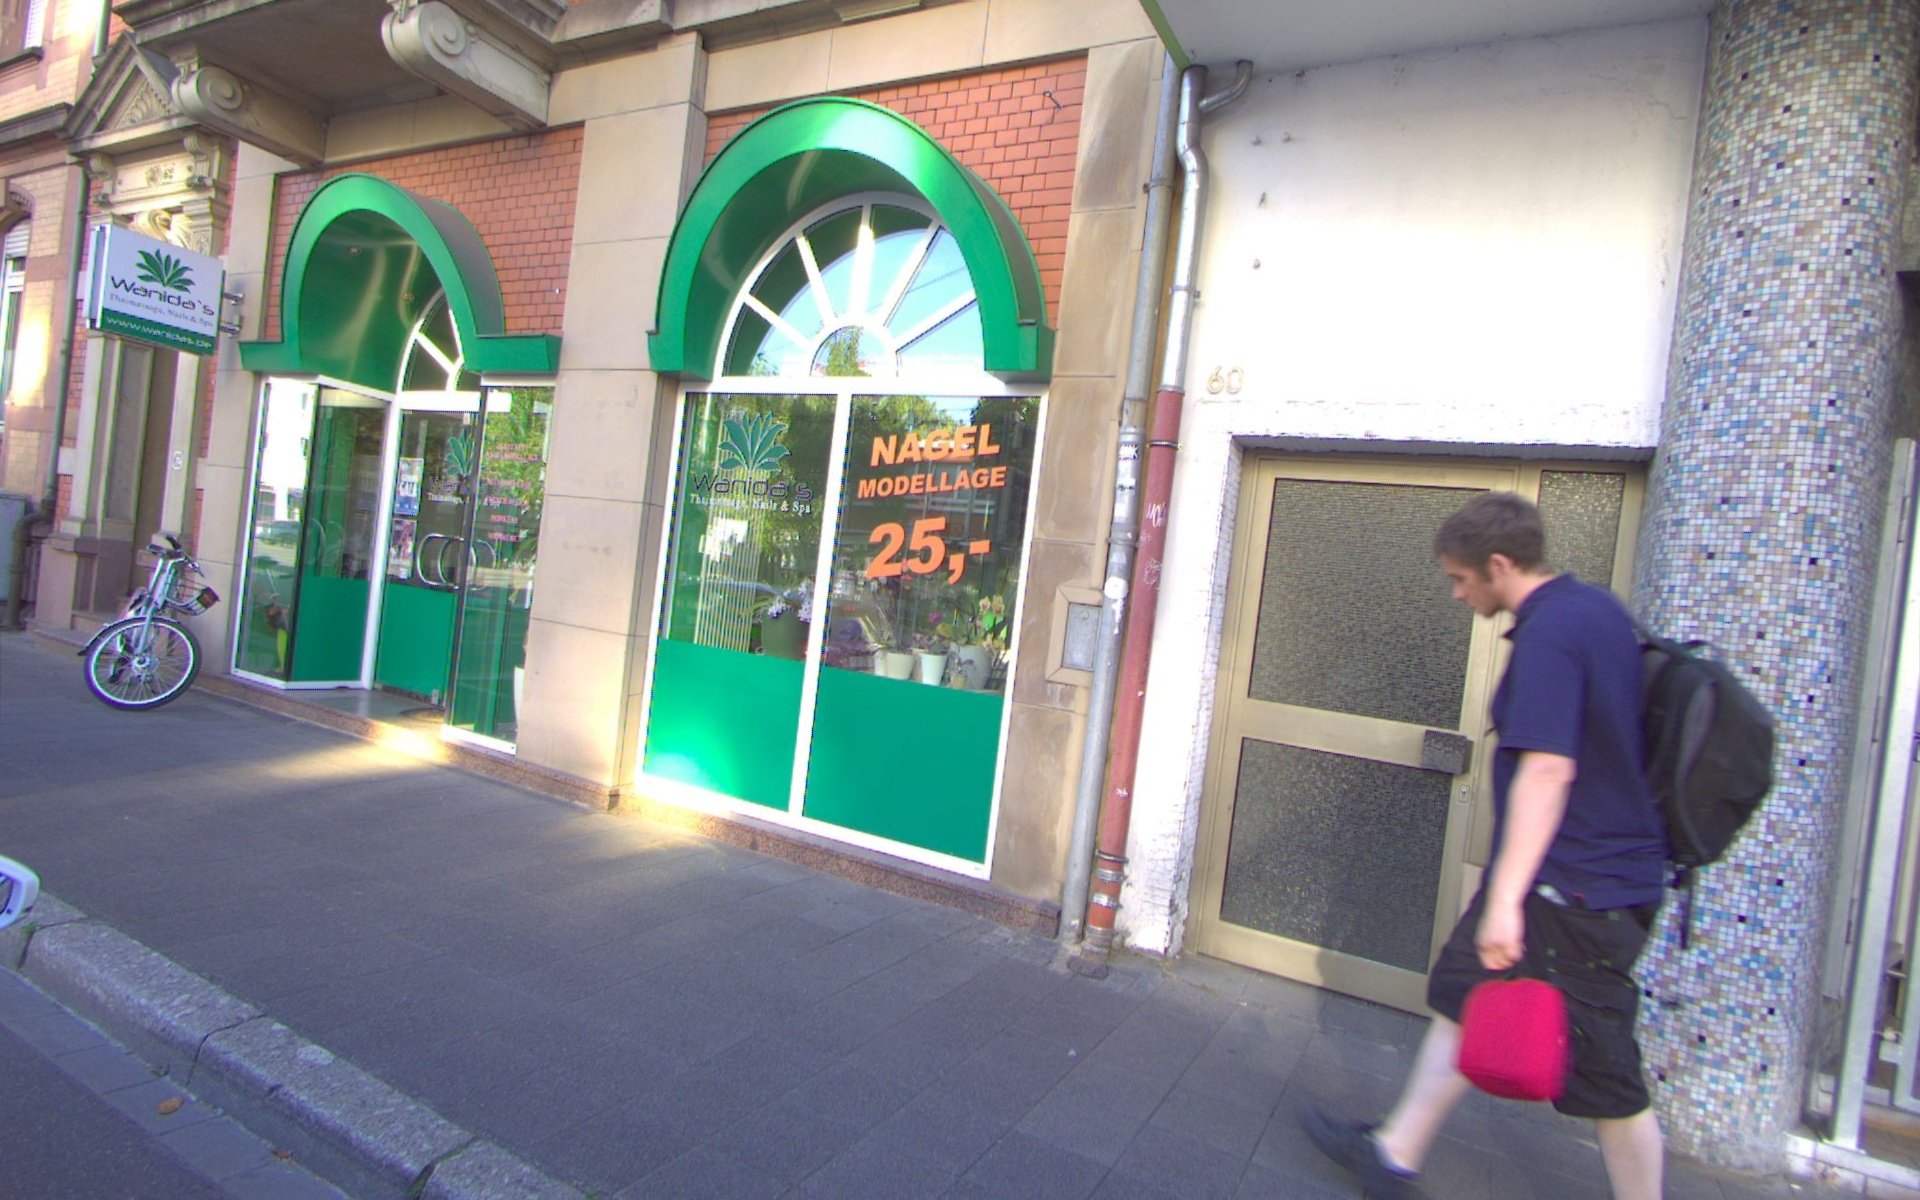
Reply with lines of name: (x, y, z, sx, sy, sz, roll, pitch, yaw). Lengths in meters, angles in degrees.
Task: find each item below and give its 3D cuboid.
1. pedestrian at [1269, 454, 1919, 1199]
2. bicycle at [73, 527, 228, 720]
pedestrian: (1.398, 0.677, 2.281, 1.036, 1.816, 0.947, 7, 2, 28)
bicycle: (-5.796, 0.128, 7.162, 0.712, 1.167, 1.635, 4, 2, -42)
